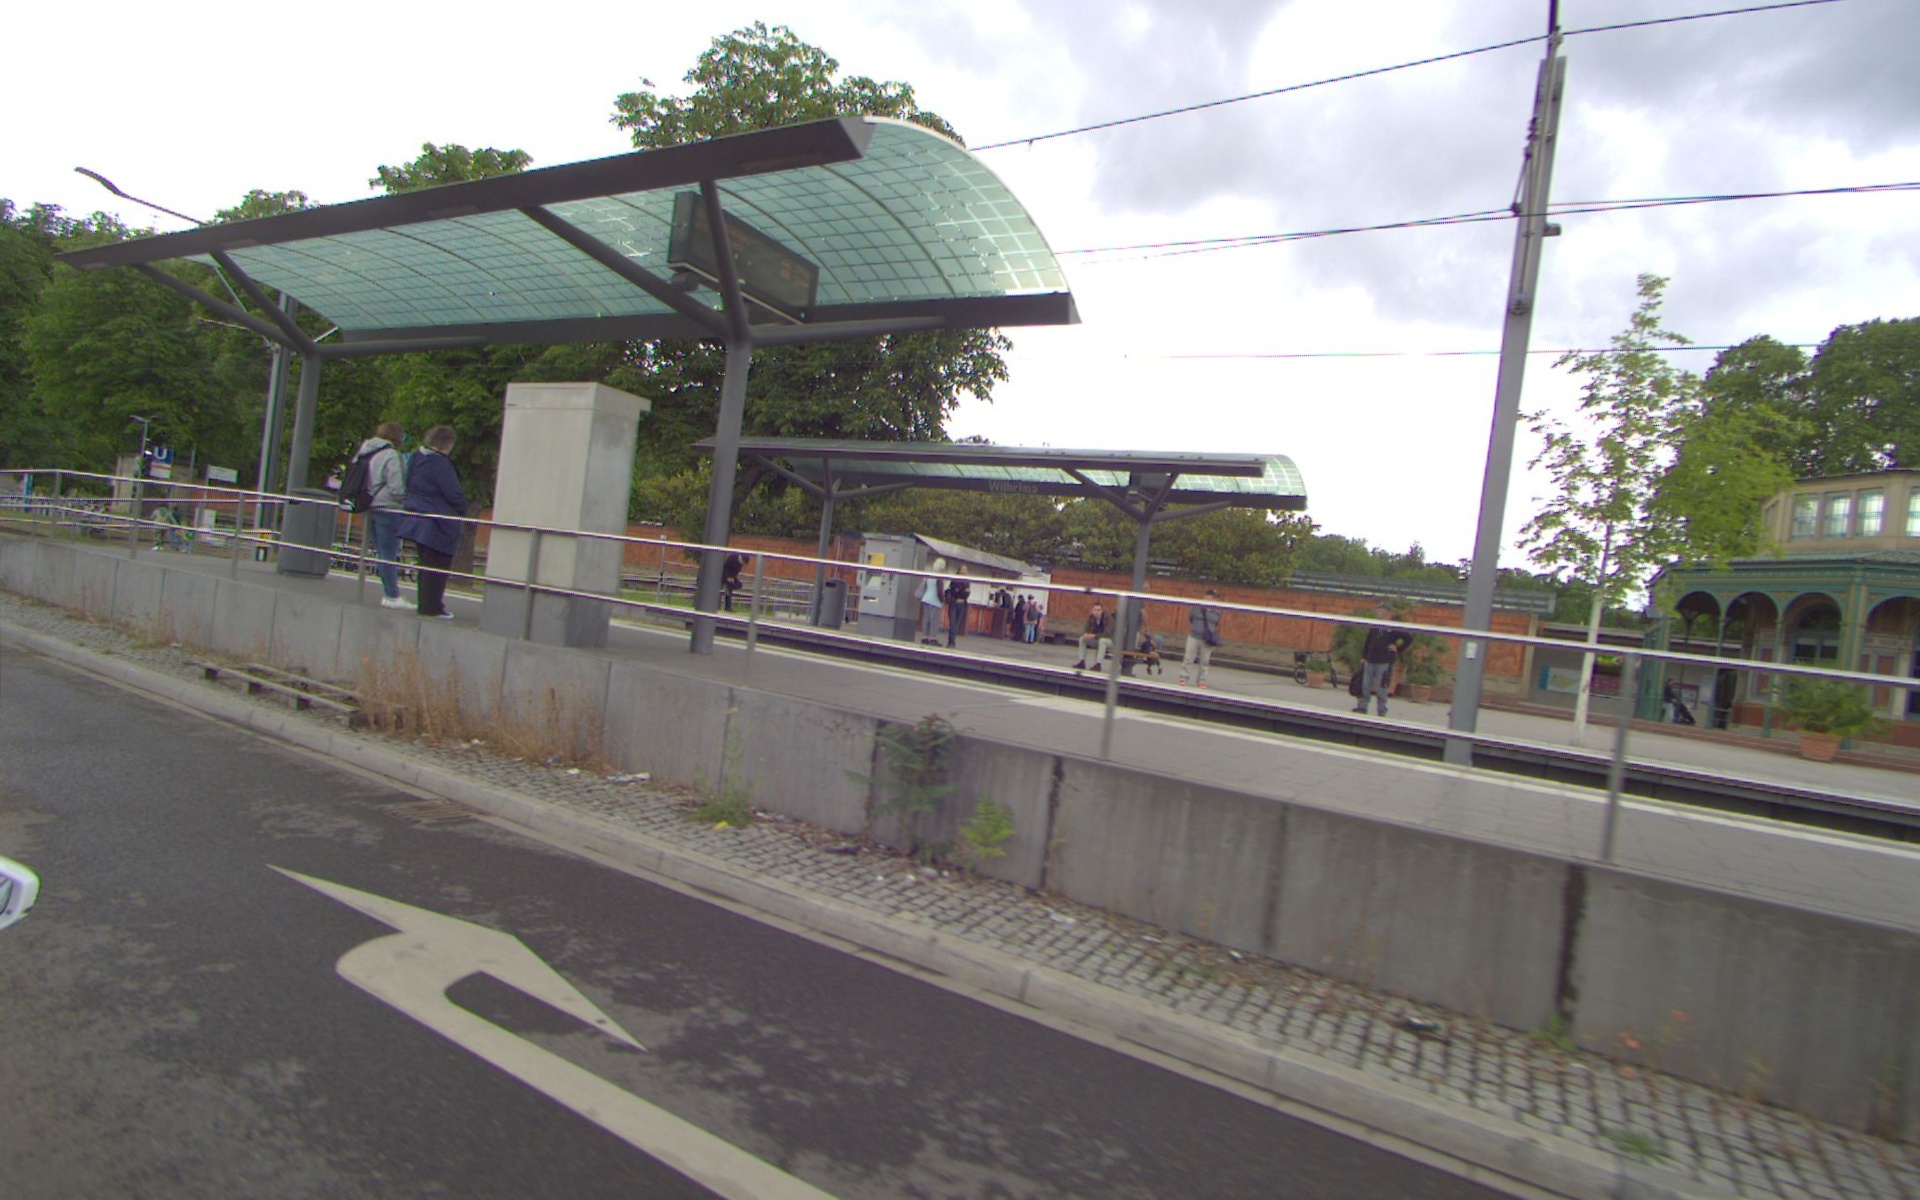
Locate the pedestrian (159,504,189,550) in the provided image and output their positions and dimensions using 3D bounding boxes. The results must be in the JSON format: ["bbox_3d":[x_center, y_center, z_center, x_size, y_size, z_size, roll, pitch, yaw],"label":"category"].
[{"bbox_3d":[-27.683,-2.572,35.439,0.506,1.521,0.498,7,1,8],"label":"pedestrian"}]

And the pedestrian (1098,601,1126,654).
[{"bbox_3d":[4.924,0.906,32.603,0.610,1.600,0.657,7,-2,17],"label":"pedestrian"}]

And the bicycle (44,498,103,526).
[{"bbox_3d":[-41.402,-4.088,46.999,0.522,0.987,1.915,8,0,31],"label":"bicycle"}]

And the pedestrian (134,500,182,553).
[{"bbox_3d":[-27.061,-2.483,33.950,0.763,1.629,0.835,7,1,8],"label":"pedestrian"}]

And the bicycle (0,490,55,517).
[{"bbox_3d":[-46.071,-4.756,49.675,0.522,0.987,1.915,8,0,31],"label":"bicycle"}]

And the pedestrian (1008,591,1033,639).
[{"bbox_3d":[2.039,0.501,34.028,0.452,1.552,0.486,7,-2,33],"label":"pedestrian"}]

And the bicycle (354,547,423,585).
[{"bbox_3d":[-19.205,-1.131,33.847,0.524,0.974,1.878,7,-3,31],"label":"bicycle"}]

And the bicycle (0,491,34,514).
[{"bbox_3d":[-48.305,-5.006,50.961,0.522,0.987,1.915,8,0,31],"label":"bicycle"}]

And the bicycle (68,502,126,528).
[{"bbox_3d":[-39.768,-3.920,46.377,0.522,0.907,1.915,8,0,31],"label":"bicycle"}]

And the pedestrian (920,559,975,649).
[{"bbox_3d":[-0.251,0.083,20.360,0.665,1.696,0.675,7,-2,27],"label":"pedestrian"}]

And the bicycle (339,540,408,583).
[{"bbox_3d":[-19.930,-1.299,34.209,0.524,1.152,1.878,7,-3,31],"label":"bicycle"}]

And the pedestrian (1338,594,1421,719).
[{"bbox_3d":[6.711,0.902,16.077,0.934,1.858,0.634,7,-2,32],"label":"pedestrian"}]

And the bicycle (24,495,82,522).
[{"bbox_3d":[-43.467,-4.389,48.226,0.522,0.987,1.915,8,0,31],"label":"bicycle"}]

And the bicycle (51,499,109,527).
[{"bbox_3d":[-40.834,-4.019,46.717,0.522,0.987,1.915,8,0,31],"label":"bicycle"}]

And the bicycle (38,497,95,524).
[{"bbox_3d":[-42.167,-4.227,47.501,0.522,0.987,1.915,8,0,31],"label":"bicycle"}]

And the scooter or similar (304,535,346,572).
[{"bbox_3d":[-23.223,-1.711,36.818,1.157,1.152,0.330,10,-3,-36],"label":"scooter or similar"}]

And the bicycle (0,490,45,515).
[{"bbox_3d":[-46.766,-4.835,49.895,0.522,0.987,1.915,8,0,31],"label":"bicycle"}]

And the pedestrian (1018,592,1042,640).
[{"bbox_3d":[2.337,0.544,33.563,0.452,1.504,0.486,7,-2,33],"label":"pedestrian"}]

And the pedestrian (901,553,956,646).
[{"bbox_3d":[-0.615,-0.012,19.599,0.664,1.696,0.545,7,-2,27],"label":"pedestrian"}]

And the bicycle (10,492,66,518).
[{"bbox_3d":[-45.290,-4.664,49.431,0.522,0.987,1.915,8,0,31],"label":"bicycle"}]

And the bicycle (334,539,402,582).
[{"bbox_3d":[-20.560,-1.359,34.986,0.524,1.152,1.878,7,-3,31],"label":"bicycle"}]

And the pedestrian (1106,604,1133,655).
[{"bbox_3d":[5.276,0.981,33.287,0.611,1.600,0.586,7,-2,18],"label":"pedestrian"}]

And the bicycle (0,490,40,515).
[{"bbox_3d":[-47.551,-4.921,50.456,0.522,0.987,1.915,8,0,31],"label":"bicycle"}]

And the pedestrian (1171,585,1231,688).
[{"bbox_3d":[4.083,0.625,17.063,0.664,1.638,0.525,7,-2,32],"label":"pedestrian"}]

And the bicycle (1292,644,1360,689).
[{"bbox_3d":[10.727,1.954,29.505,1.684,1.073,0.564,8,-2,0],"label":"bicycle"}]

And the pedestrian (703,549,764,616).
[{"bbox_3d":[-5.107,-0.396,22.680,0.951,1.338,0.675,7,-2,29],"label":"pedestrian"}]

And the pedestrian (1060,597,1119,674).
[{"bbox_3d":[2.261,0.620,17.527,0.664,1.204,0.659,7,-2,32],"label":"pedestrian"}]

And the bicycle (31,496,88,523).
[{"bbox_3d":[-42.806,-4.300,47.845,0.522,0.987,1.915,8,0,31],"label":"bicycle"}]

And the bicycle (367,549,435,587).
[{"bbox_3d":[-18.587,-1.047,33.499,0.524,0.974,1.878,7,-3,31],"label":"bicycle"}]

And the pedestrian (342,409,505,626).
[{"bbox_3d":[-4.697,-0.708,8.827,0.719,1.718,0.772,9,-1,32],"label":"pedestrian"}]

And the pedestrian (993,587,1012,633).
[{"bbox_3d":[1.468,0.341,34.616,0.311,1.504,0.342,7,-2,33],"label":"pedestrian"}]

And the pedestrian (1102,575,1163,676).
[{"bbox_3d":[3.152,0.478,18.303,0.747,1.696,0.864,7,-2,21],"label":"pedestrian"}]

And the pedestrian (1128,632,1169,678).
[{"bbox_3d":[3.399,0.992,18.137,0.418,0.749,0.561,6,-3,40],"label":"pedestrian"}]

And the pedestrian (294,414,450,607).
[{"bbox_3d":[-5.361,-0.806,9.189,0.762,1.571,0.752,9,-1,32],"label":"pedestrian"}]

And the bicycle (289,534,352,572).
[{"bbox_3d":[-22.743,-1.653,35.802,0.475,1.045,1.768,7,-3,31],"label":"bicycle"}]
